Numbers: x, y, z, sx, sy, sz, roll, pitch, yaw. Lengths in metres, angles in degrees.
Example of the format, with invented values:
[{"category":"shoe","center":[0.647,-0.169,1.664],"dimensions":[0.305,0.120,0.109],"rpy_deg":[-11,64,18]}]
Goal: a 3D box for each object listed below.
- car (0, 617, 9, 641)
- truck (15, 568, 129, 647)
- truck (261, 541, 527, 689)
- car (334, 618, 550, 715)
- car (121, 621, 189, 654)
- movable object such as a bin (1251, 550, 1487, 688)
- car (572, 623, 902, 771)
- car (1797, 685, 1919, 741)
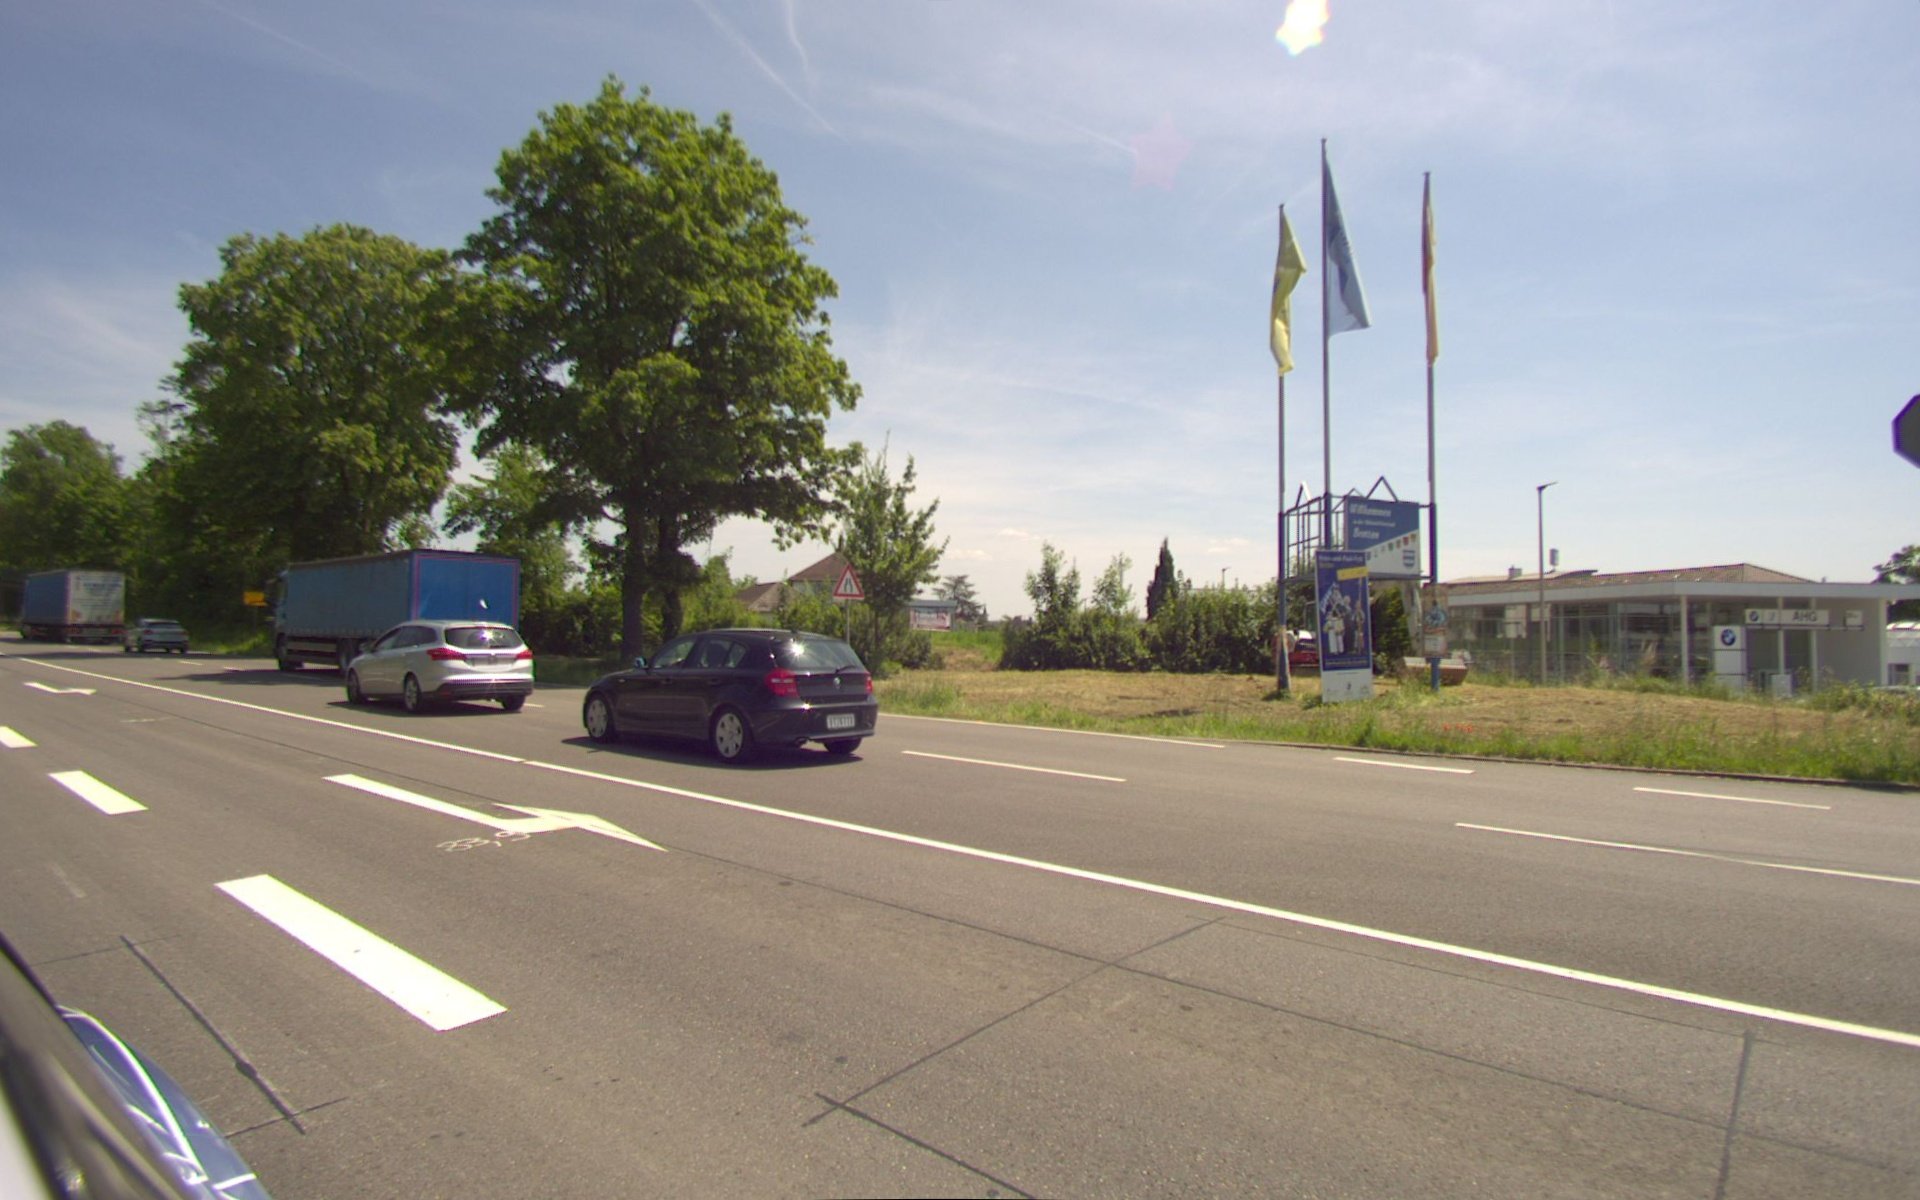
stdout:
[{"category":"car","center":[-78.488,2.321,81.825],"dimensions":[3.999,1.918,1.972],"rpy_deg":[-1,-3,42]},{"category":"truck","center":[-53.388,0.526,60.565],"dimensions":[16.566,4.208,2.937],"rpy_deg":[-1,-2,41]},{"category":"truck","center":[-15.982,0.409,27.950],"dimensions":[11.478,3.377,2.816],"rpy_deg":[-1,-2,42]},{"category":"car","center":[-8.821,1.054,17.084],"dimensions":[4.261,1.437,1.770],"rpy_deg":[-1,-4,41]},{"category":"car","center":[-36.630,1.690,46.020],"dimensions":[4.179,1.439,1.742],"rpy_deg":[-1,-3,42]},{"category":"movable object such as a bin","center":[10.895,0.566,27.877],"dimensions":[3.004,3.324,6.803],"rpy_deg":[1,-2,-8]},{"category":"car","center":[-2.674,0.991,11.615],"dimensions":[4.015,1.414,1.645],"rpy_deg":[-1,-3,42]},{"category":"car","center":[31.331,3.810,34.482],"dimensions":[1.722,1.613,4.206],"rpy_deg":[1,-3,-9]}]
